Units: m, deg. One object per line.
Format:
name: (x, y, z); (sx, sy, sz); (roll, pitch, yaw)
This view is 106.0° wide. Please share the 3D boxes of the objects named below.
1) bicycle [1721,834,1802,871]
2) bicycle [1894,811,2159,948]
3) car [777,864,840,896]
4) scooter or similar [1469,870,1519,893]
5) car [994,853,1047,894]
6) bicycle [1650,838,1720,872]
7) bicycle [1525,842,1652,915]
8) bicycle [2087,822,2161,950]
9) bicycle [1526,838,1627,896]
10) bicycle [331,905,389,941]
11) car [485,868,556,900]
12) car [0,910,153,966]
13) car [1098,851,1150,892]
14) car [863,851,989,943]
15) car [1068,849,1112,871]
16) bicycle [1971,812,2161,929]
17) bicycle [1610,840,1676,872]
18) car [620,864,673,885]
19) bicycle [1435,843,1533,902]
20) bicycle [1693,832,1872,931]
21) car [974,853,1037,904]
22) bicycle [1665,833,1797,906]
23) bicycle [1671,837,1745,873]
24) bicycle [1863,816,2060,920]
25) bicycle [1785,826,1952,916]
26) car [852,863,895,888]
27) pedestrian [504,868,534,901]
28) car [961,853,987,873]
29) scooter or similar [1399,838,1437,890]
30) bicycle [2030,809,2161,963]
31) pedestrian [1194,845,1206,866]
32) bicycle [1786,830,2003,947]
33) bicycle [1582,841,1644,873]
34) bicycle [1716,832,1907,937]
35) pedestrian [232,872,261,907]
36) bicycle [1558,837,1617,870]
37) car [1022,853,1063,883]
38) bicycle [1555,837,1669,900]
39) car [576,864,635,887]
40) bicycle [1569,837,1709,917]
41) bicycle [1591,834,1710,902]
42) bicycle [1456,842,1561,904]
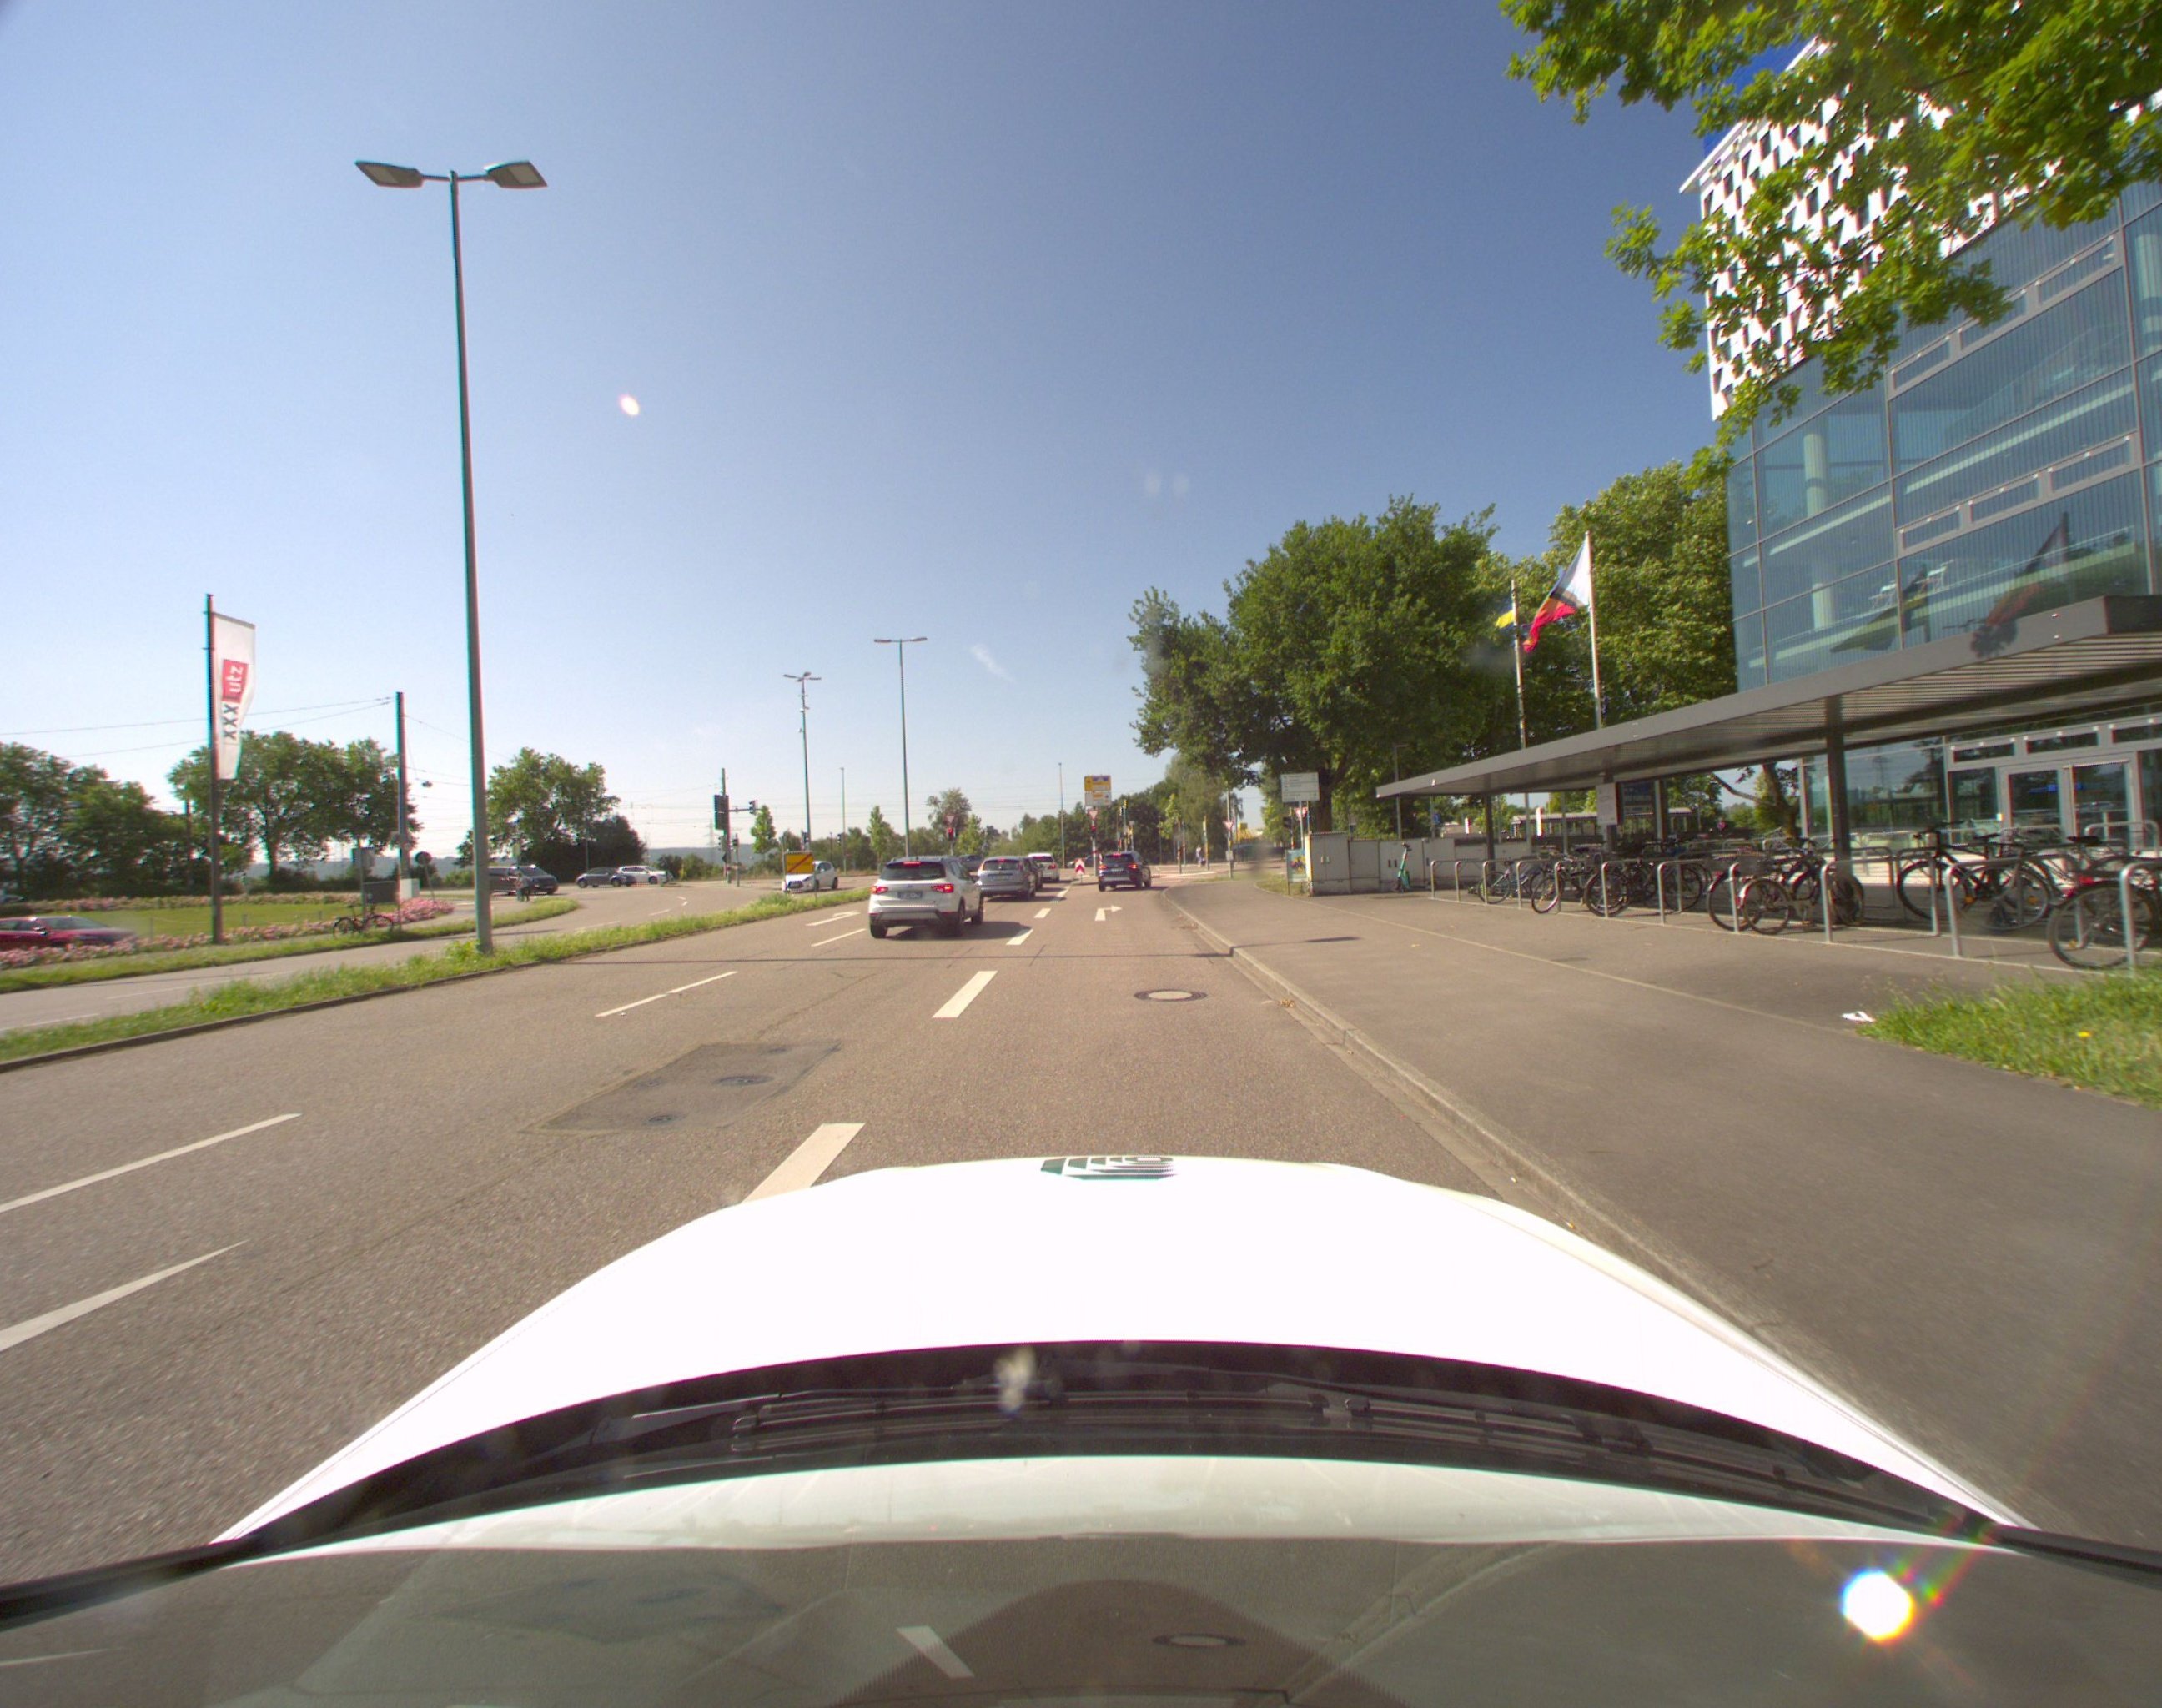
bicycle: (16.614, -0.038, 19.897); (1.555, 0.843, 0.434); (-3, 0, 3)
bicycle: (8.399, 0.220, 7.266); (1.752, 1.096, 0.463); (-3, 0, 1)
car: (-14.617, 1.374, 43.911); (1.786, 1.547, 4.090); (-2, -1, 4)
scooter or similar: (9.476, 0.623, 18.723); (0.908, 0.451, 0.966); (-5, -2, 21)
car: (-2.504, 0.780, 34.682); (1.731, 1.511, 4.202); (-3, 0, 1)
bicycle: (16.514, 0.019, 22.269); (1.556, 0.843, 0.434); (-3, 0, 1)
bicycle: (8.352, 0.397, 13.428); (1.752, 1.096, 0.452); (-3, 0, 1)
bicycle: (10.259, 0.243, 7.342); (1.752, 1.096, 0.452); (-3, 0, 1)
bicycle: (10.237, 0.268, 16.834); (1.752, 1.096, 0.452); (-3, 0, 1)
bicycle: (-22.088, 2.098, 24.995); (0.329, 1.023, 1.642); (-4, -2, -2)
car: (-35.650, 1.909, 51.771); (3.952, 1.925, 1.827); (-1, 1, 23)
car: (-34.758, 2.849, 27.644); (4.174, 1.605, 1.824); (-2, -2, -4)
car: (1.791, 0.671, 33.082); (1.659, 1.523, 3.386); (-2, 0, 10)
car: (-3.001, 0.761, 16.586); (1.624, 1.498, 3.873); (-2, 2, 2)
car: (0.906, 0.577, 81.138); (3.992, 2.014, 1.991); (-2, -2, -13)
bicycle: (10.375, 0.159, 8.429); (1.752, 1.096, 0.452); (-3, 0, 1)
bicycle: (16.316, 0.048, 23.641); (1.555, 0.843, 0.434); (-3, 0, 3)
car: (-33.592, 1.571, 63.006); (3.335, 1.500, 1.408); (-2, -2, -3)
bicycle: (8.326, 0.375, 16.852); (1.752, 1.096, 0.452); (-3, 0, 1)
bicycle: (8.614, 0.335, 10.029); (1.752, 1.096, 0.452); (-3, 0, 1)
car: (-2.514, 0.784, 27.952); (1.700, 1.573, 4.174); (-2, 0, 0)
bicycle: (10.746, 0.254, 13.490); (1.752, 1.096, 0.452); (-3, 0, 1)
bicycle: (16.505, 0.027, 21.453); (1.555, 0.843, 0.434); (-3, 0, 3)
bicycle: (10.310, 0.164, 9.564); (1.752, 1.096, 0.452); (-3, 0, 1)
bicycle: (10.581, 0.221, 10.966); (1.752, 1.096, 0.452); (-3, 0, 1)
car: (-9.378, 0.971, 36.896); (1.113, 1.004, 2.494); (-3, 0, 3)
pedestrian: (-30.035, 1.612, 43.556); (0.834, 1.707, 0.909); (-3, 0, 13)
car: (-9.520, 0.761, 72.989); (1.621, 1.624, 3.919); (-3, 1, 2)
scooter or similar: (8.575, 0.258, 20.744); (0.774, 1.265, 0.283); (-3, 0, -2)
bicycle: (8.376, 0.197, 6.174); (1.752, 1.096, 0.452); (-3, -1, 1)
pedestrian: (8.759, 0.085, 59.865); (0.767, 1.510, 1.011); (-3, 1, 12)
bicycle: (8.501, 0.354, 8.538); (1.752, 1.096, 0.452); (-3, 0, 1)
bicycle: (16.380, 0.084, 25.084); (1.555, 0.910, 0.434); (-3, 0, 3)
bicycle: (8.467, 0.345, 9.468); (1.752, 1.096, 0.452); (-3, 0, 1)
pedestrian: (-48.201, 2.019, 47.037); (0.712, 1.972, 0.919); (-3, -2, 6)
bicycle: (16.289, -0.010, 26.190); (1.555, 0.995, 0.434); (-3, 0, 3)
car: (-1.962, 0.700, 42.760); (1.735, 1.448, 4.390); (-2, 0, 2)
bicycle: (10.182, 0.271, 15.642); (1.822, 1.096, 0.452); (-3, 0, 1)
car: (-34.862, 1.563, 59.755); (3.376, 1.500, 1.409); (-3, -2, -1)
bicycle: (8.406, 0.344, 12.294); (1.752, 1.096, 0.452); (-3, 0, 1)
bicycle: (10.201, 0.249, 14.610); (1.752, 1.096, 0.452); (-3, 0, 1)
bicycle: (8.307, 0.370, 15.852); (1.752, 1.096, 0.452); (-3, 0, 1)
